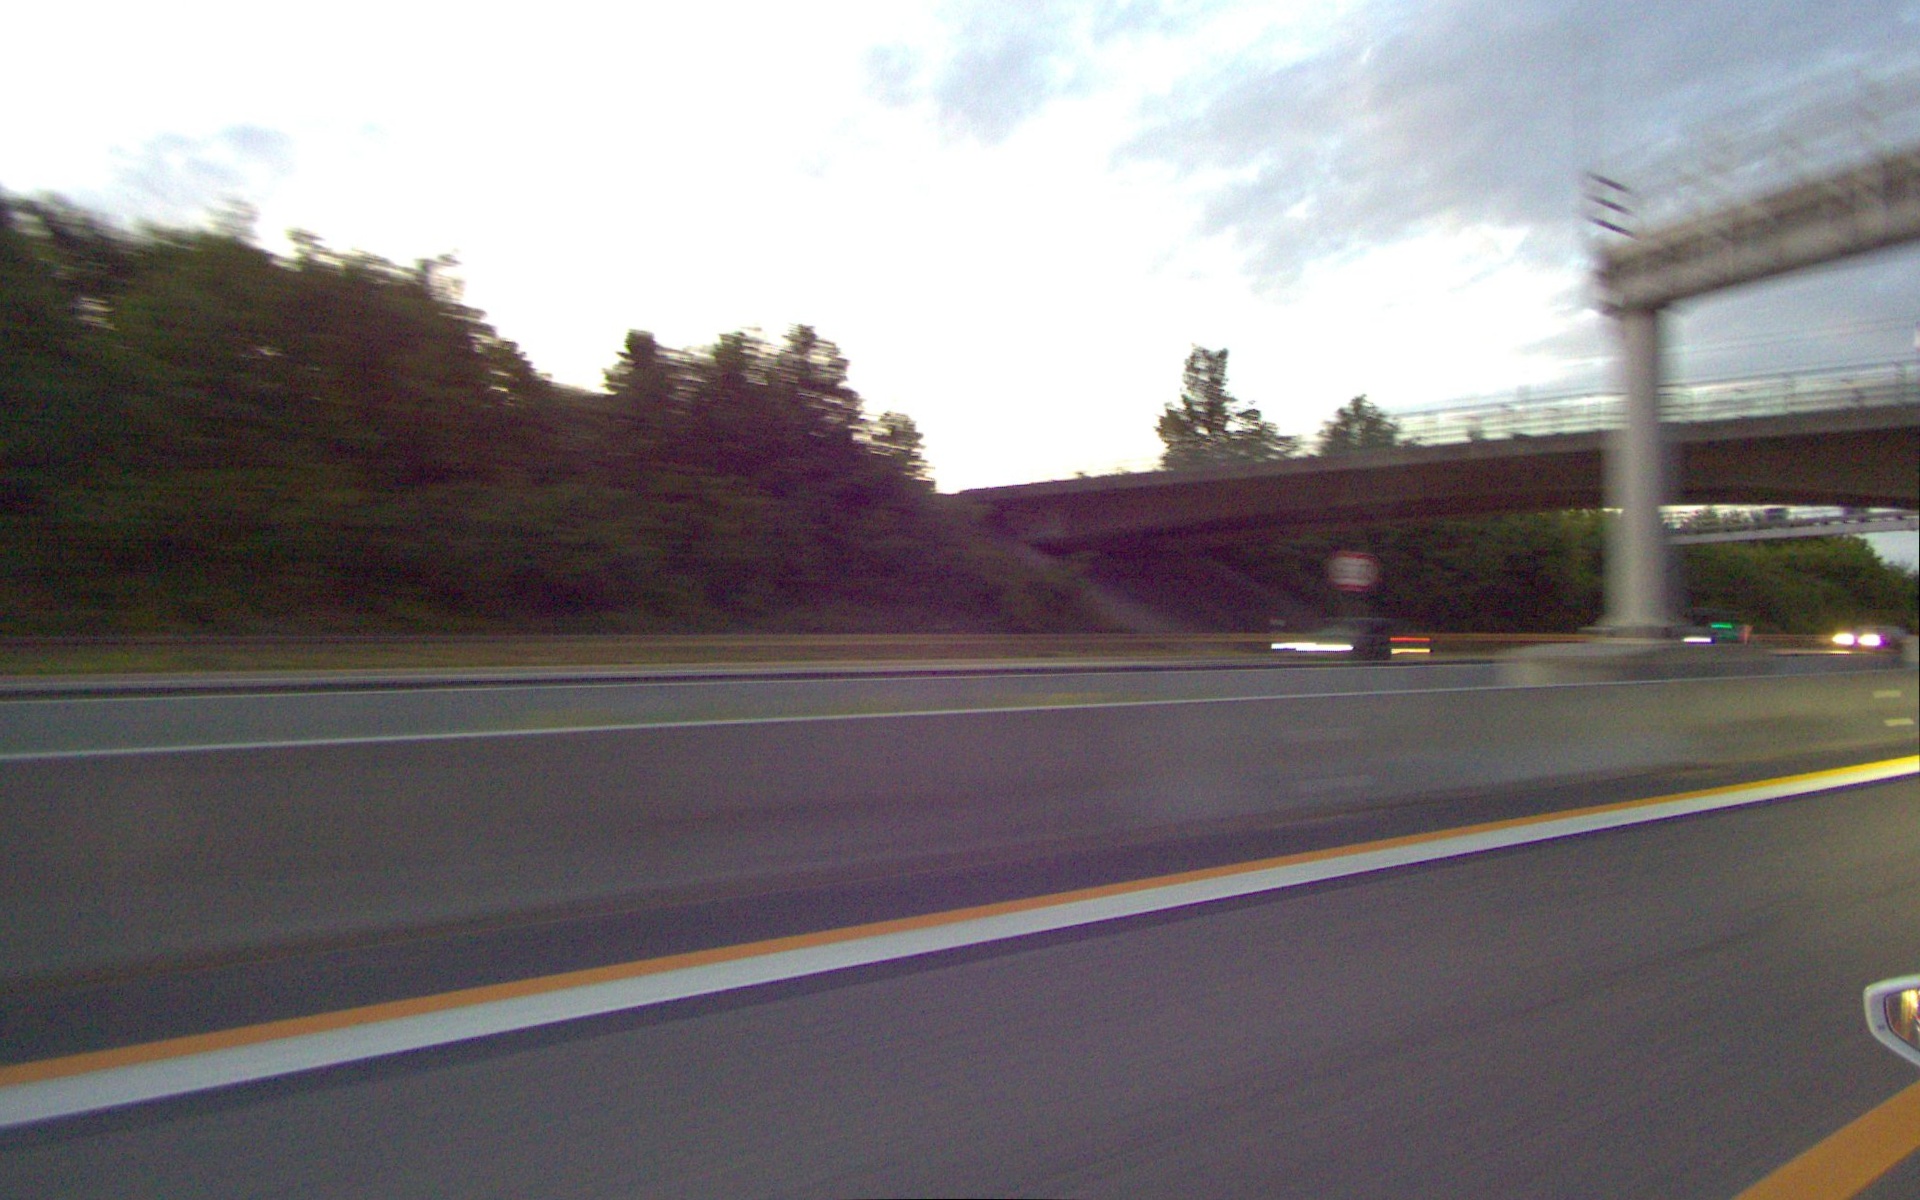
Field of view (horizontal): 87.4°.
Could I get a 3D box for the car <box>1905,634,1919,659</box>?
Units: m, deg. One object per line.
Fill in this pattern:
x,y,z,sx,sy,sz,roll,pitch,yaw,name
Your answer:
58.303,2.777,59.916,3.957,1.438,1.982,1,-1,-33,car

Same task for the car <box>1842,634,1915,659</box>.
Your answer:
51.537,2.594,56.363,3.954,1.340,1.984,1,-1,-31,car

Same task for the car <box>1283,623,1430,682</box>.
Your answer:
12.751,1.651,32.233,4.528,1.696,1.984,2,1,-30,car

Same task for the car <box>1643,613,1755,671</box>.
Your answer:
30.775,1.752,41.820,4.746,2.219,1.984,2,1,-30,car
